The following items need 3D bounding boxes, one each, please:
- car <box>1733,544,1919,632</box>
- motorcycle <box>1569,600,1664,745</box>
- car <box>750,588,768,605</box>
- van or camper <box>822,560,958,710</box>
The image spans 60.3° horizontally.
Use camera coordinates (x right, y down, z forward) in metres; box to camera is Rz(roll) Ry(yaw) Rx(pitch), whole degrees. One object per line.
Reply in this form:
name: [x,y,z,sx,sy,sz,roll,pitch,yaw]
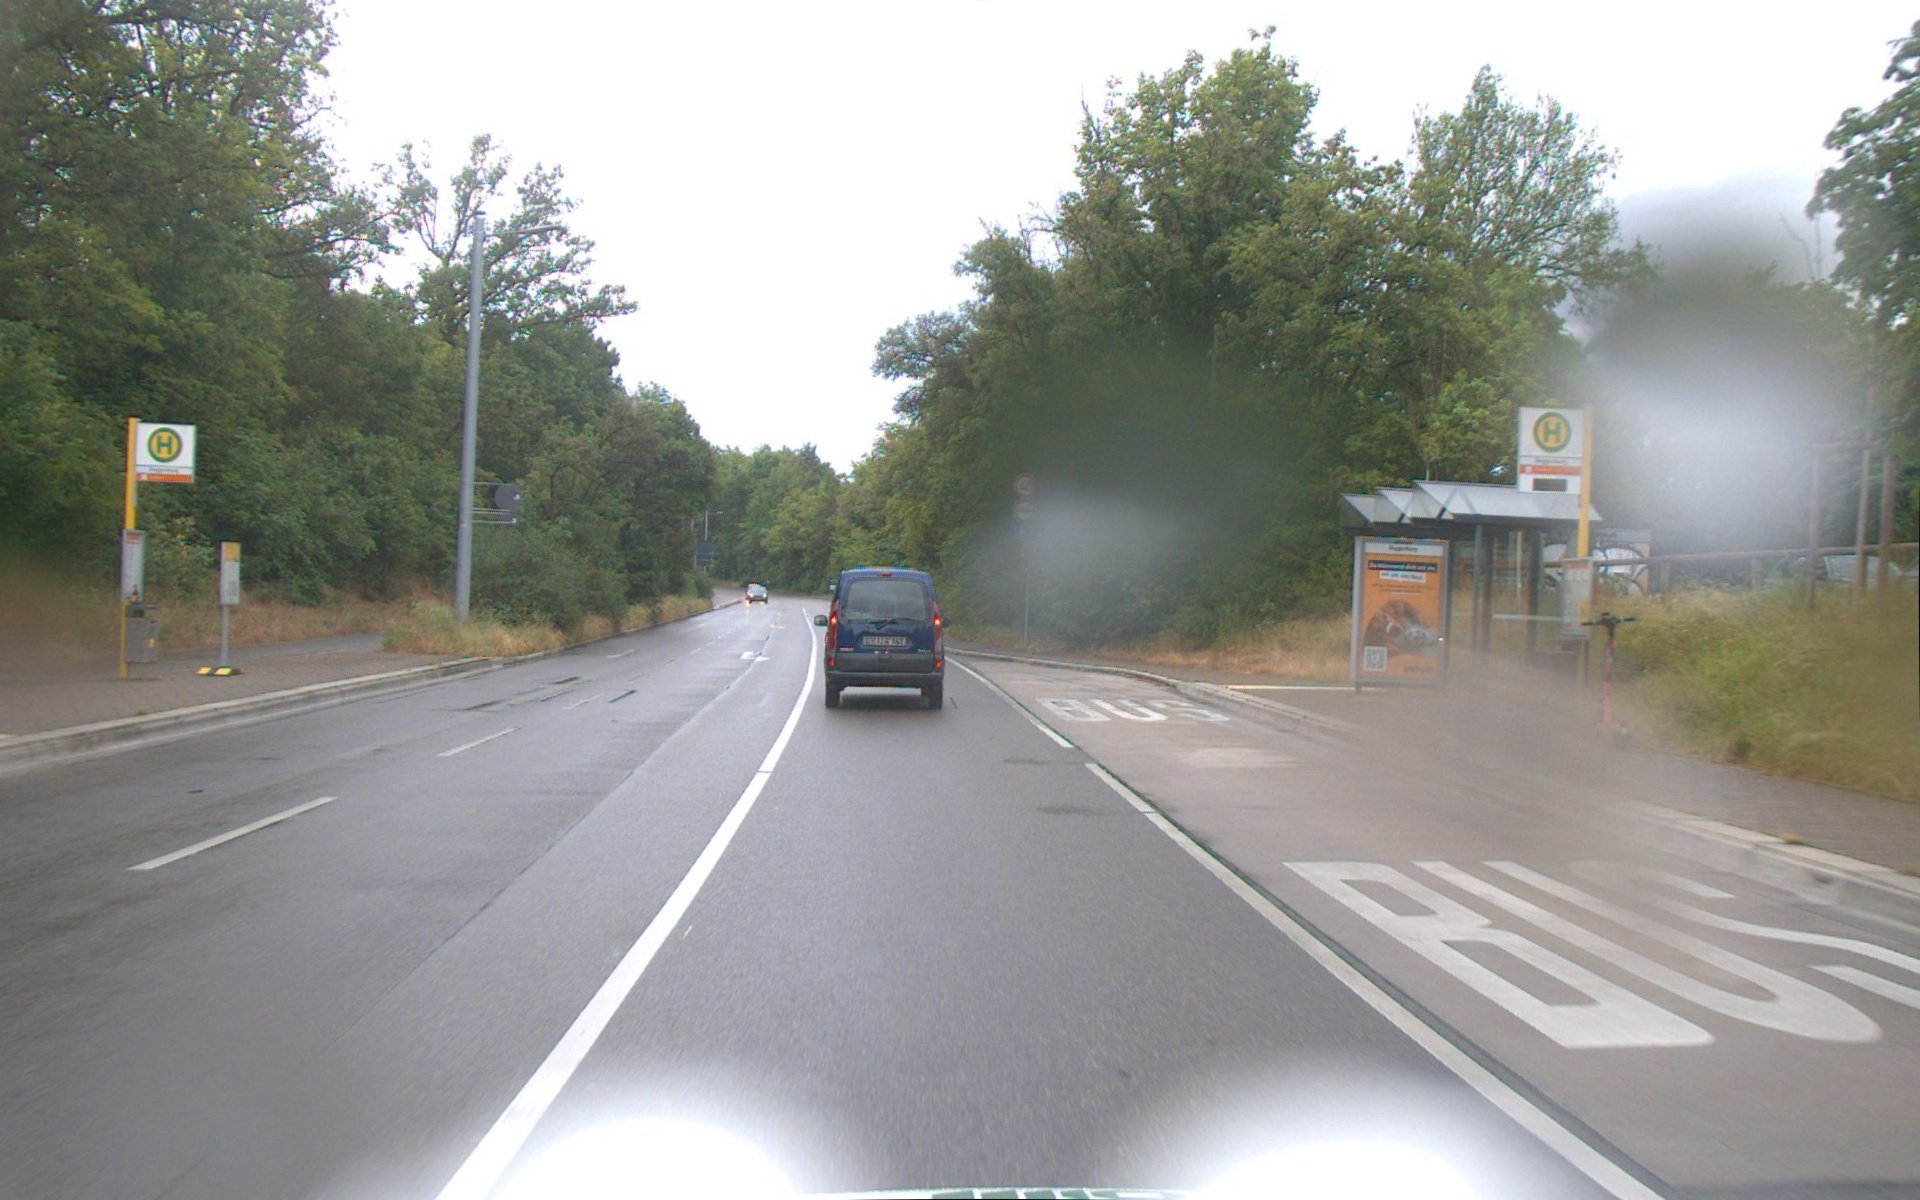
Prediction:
car: [17.377,-0.186,32.998,1.846,1.505,4.784,4,-1,4]
motorcycle: [6.317,0.664,15.964,0.576,1.311,1.539,2,0,12]
car: [-17.850,-0.316,147.057,1.568,1.466,3.985,1,0,-6]
van or camper: [-1.054,0.483,23.231,1.679,1.858,3.996,2,-1,-5]
